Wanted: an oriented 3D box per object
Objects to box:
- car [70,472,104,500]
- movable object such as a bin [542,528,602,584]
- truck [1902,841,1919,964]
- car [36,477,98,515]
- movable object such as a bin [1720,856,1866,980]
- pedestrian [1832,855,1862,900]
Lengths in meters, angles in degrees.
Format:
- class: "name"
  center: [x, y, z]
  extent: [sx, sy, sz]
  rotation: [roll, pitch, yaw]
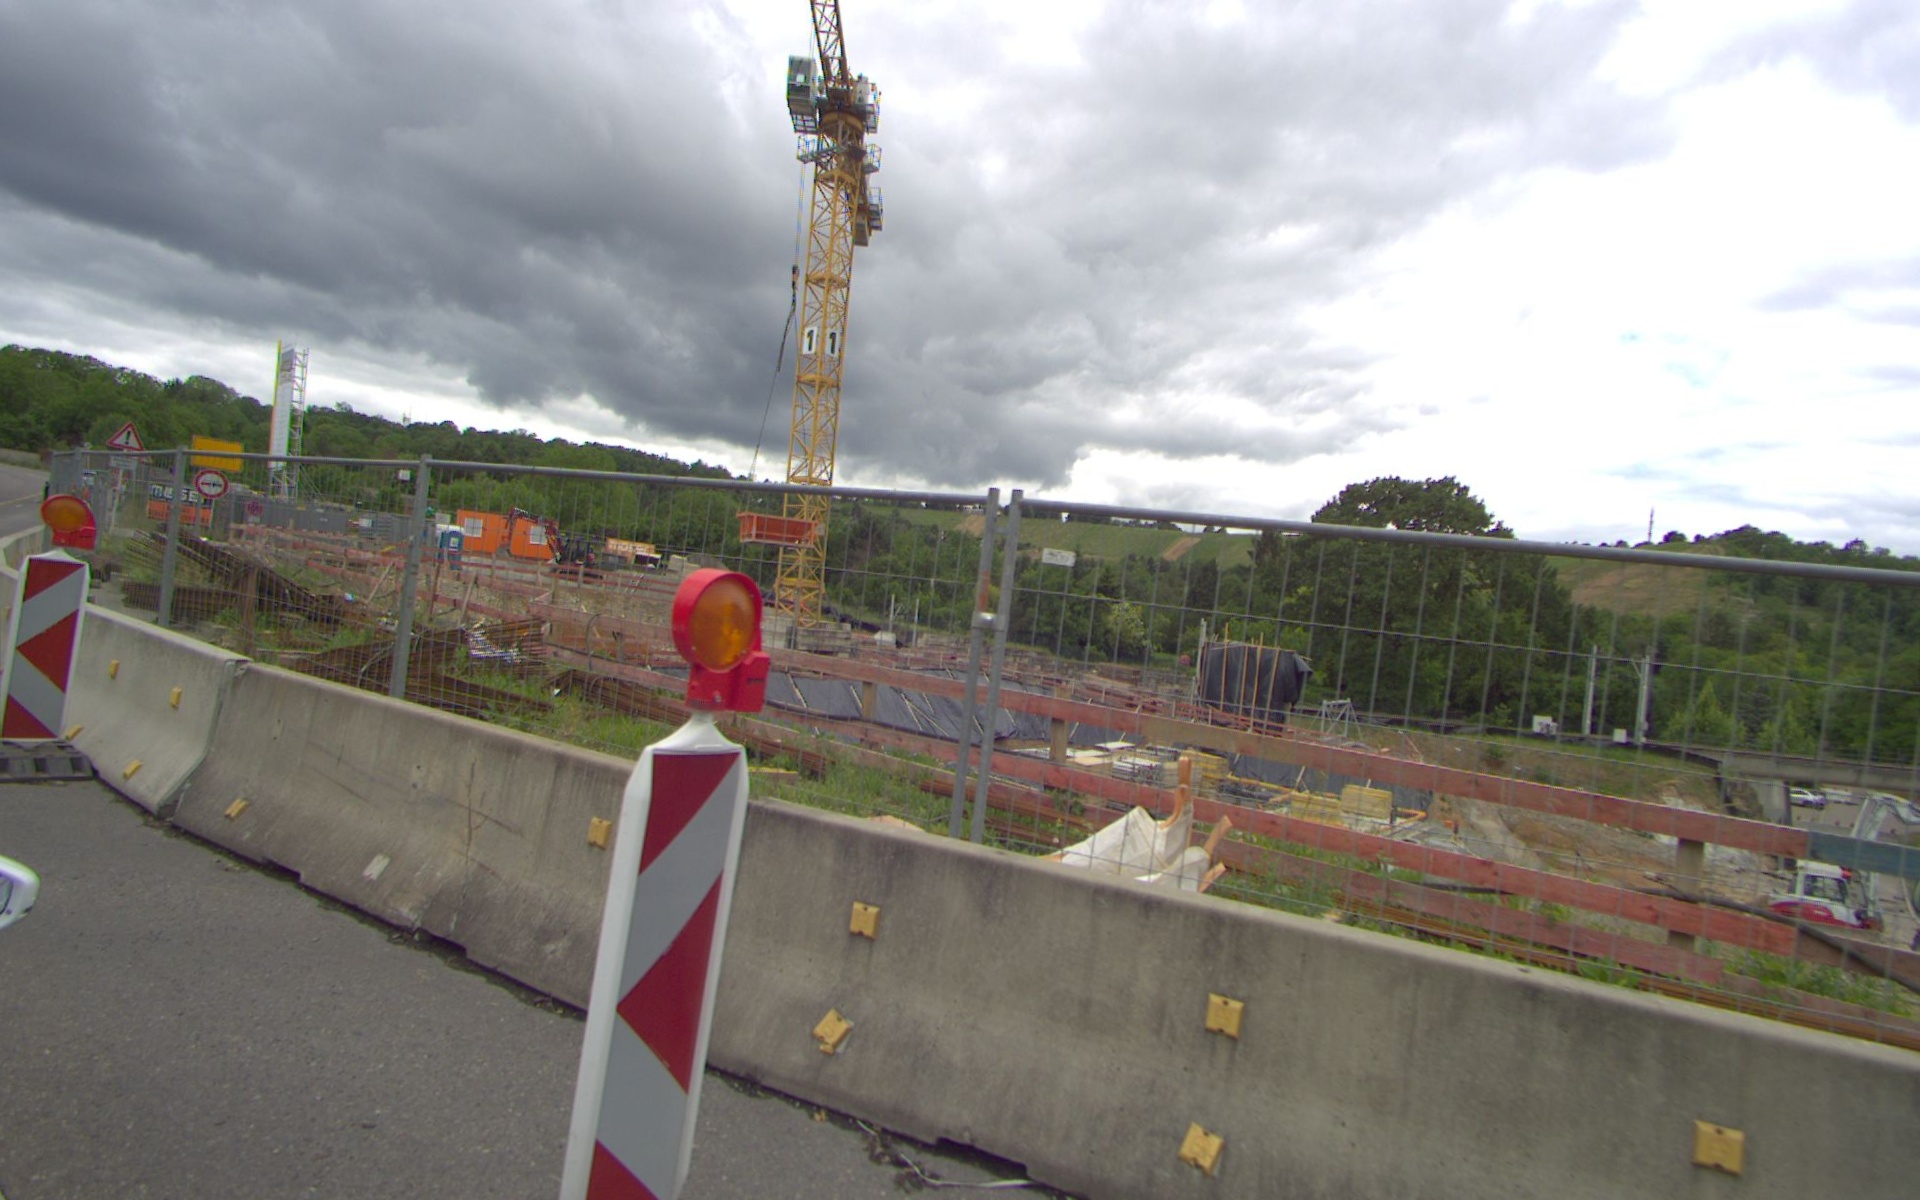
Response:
- class: "car"
  center: [-62.414, -8.113, 71.935]
  extent: [1.705, 1.696, 3.953]
  rotation: [5, 1, -42]
- class: "movable object such as a bin"
  center: [-23.764, -2.697, 61.575]
  extent: [2.778, 3.116, 1.820]
  rotation: [5, 1, -40]
- class: "truck"
  center: [31.807, 10.047, 29.665]
  extent: [2.798, 3.938, 11.609]
  rotation: [6, -2, 29]
- class: "car"
  center: [-47.365, -5.482, 53.438]
  extent: [1.808, 1.570, 3.754]
  rotation: [8, -1, -34]
- class: "movable object such as a bin"
  center: [27.227, 10.227, 32.841]
  extent: [4.264, 2.780, 3.010]
  rotation: [10, -2, -44]
- class: "pedestrian"
  center: [45.062, 14.099, 51.121]
  extent: [0.811, 2.036, 0.682]
  rotation: [8, -2, 28]
